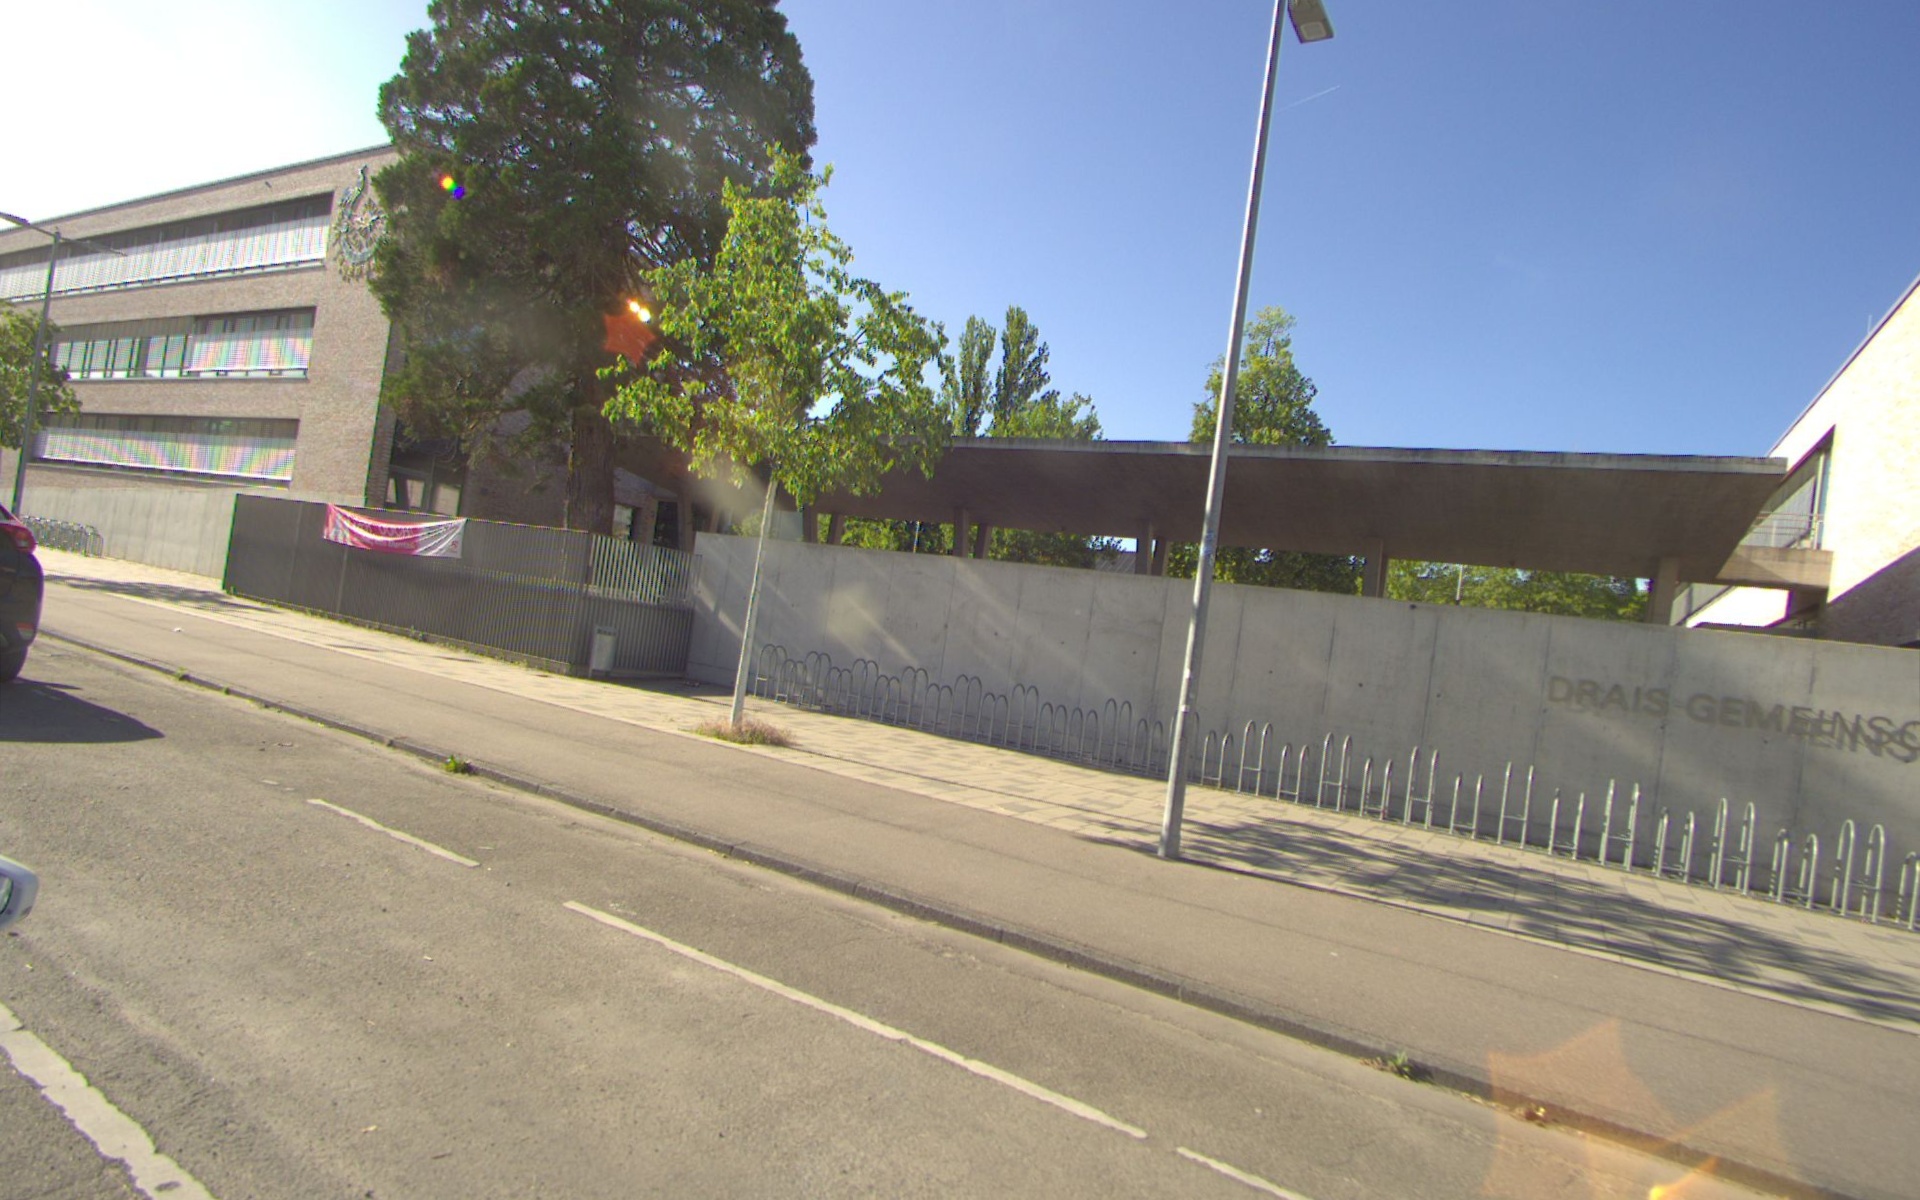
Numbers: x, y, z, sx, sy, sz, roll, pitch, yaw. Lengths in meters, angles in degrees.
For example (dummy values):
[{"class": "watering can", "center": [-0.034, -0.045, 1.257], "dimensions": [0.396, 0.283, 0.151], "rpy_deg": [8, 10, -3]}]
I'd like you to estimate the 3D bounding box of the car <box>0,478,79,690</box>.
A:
[{"class": "car", "center": [-9.749, -0.401, 8.649], "dimensions": [4.428, 1.659, 1.850], "rpy_deg": [7, -2, 31]}]
